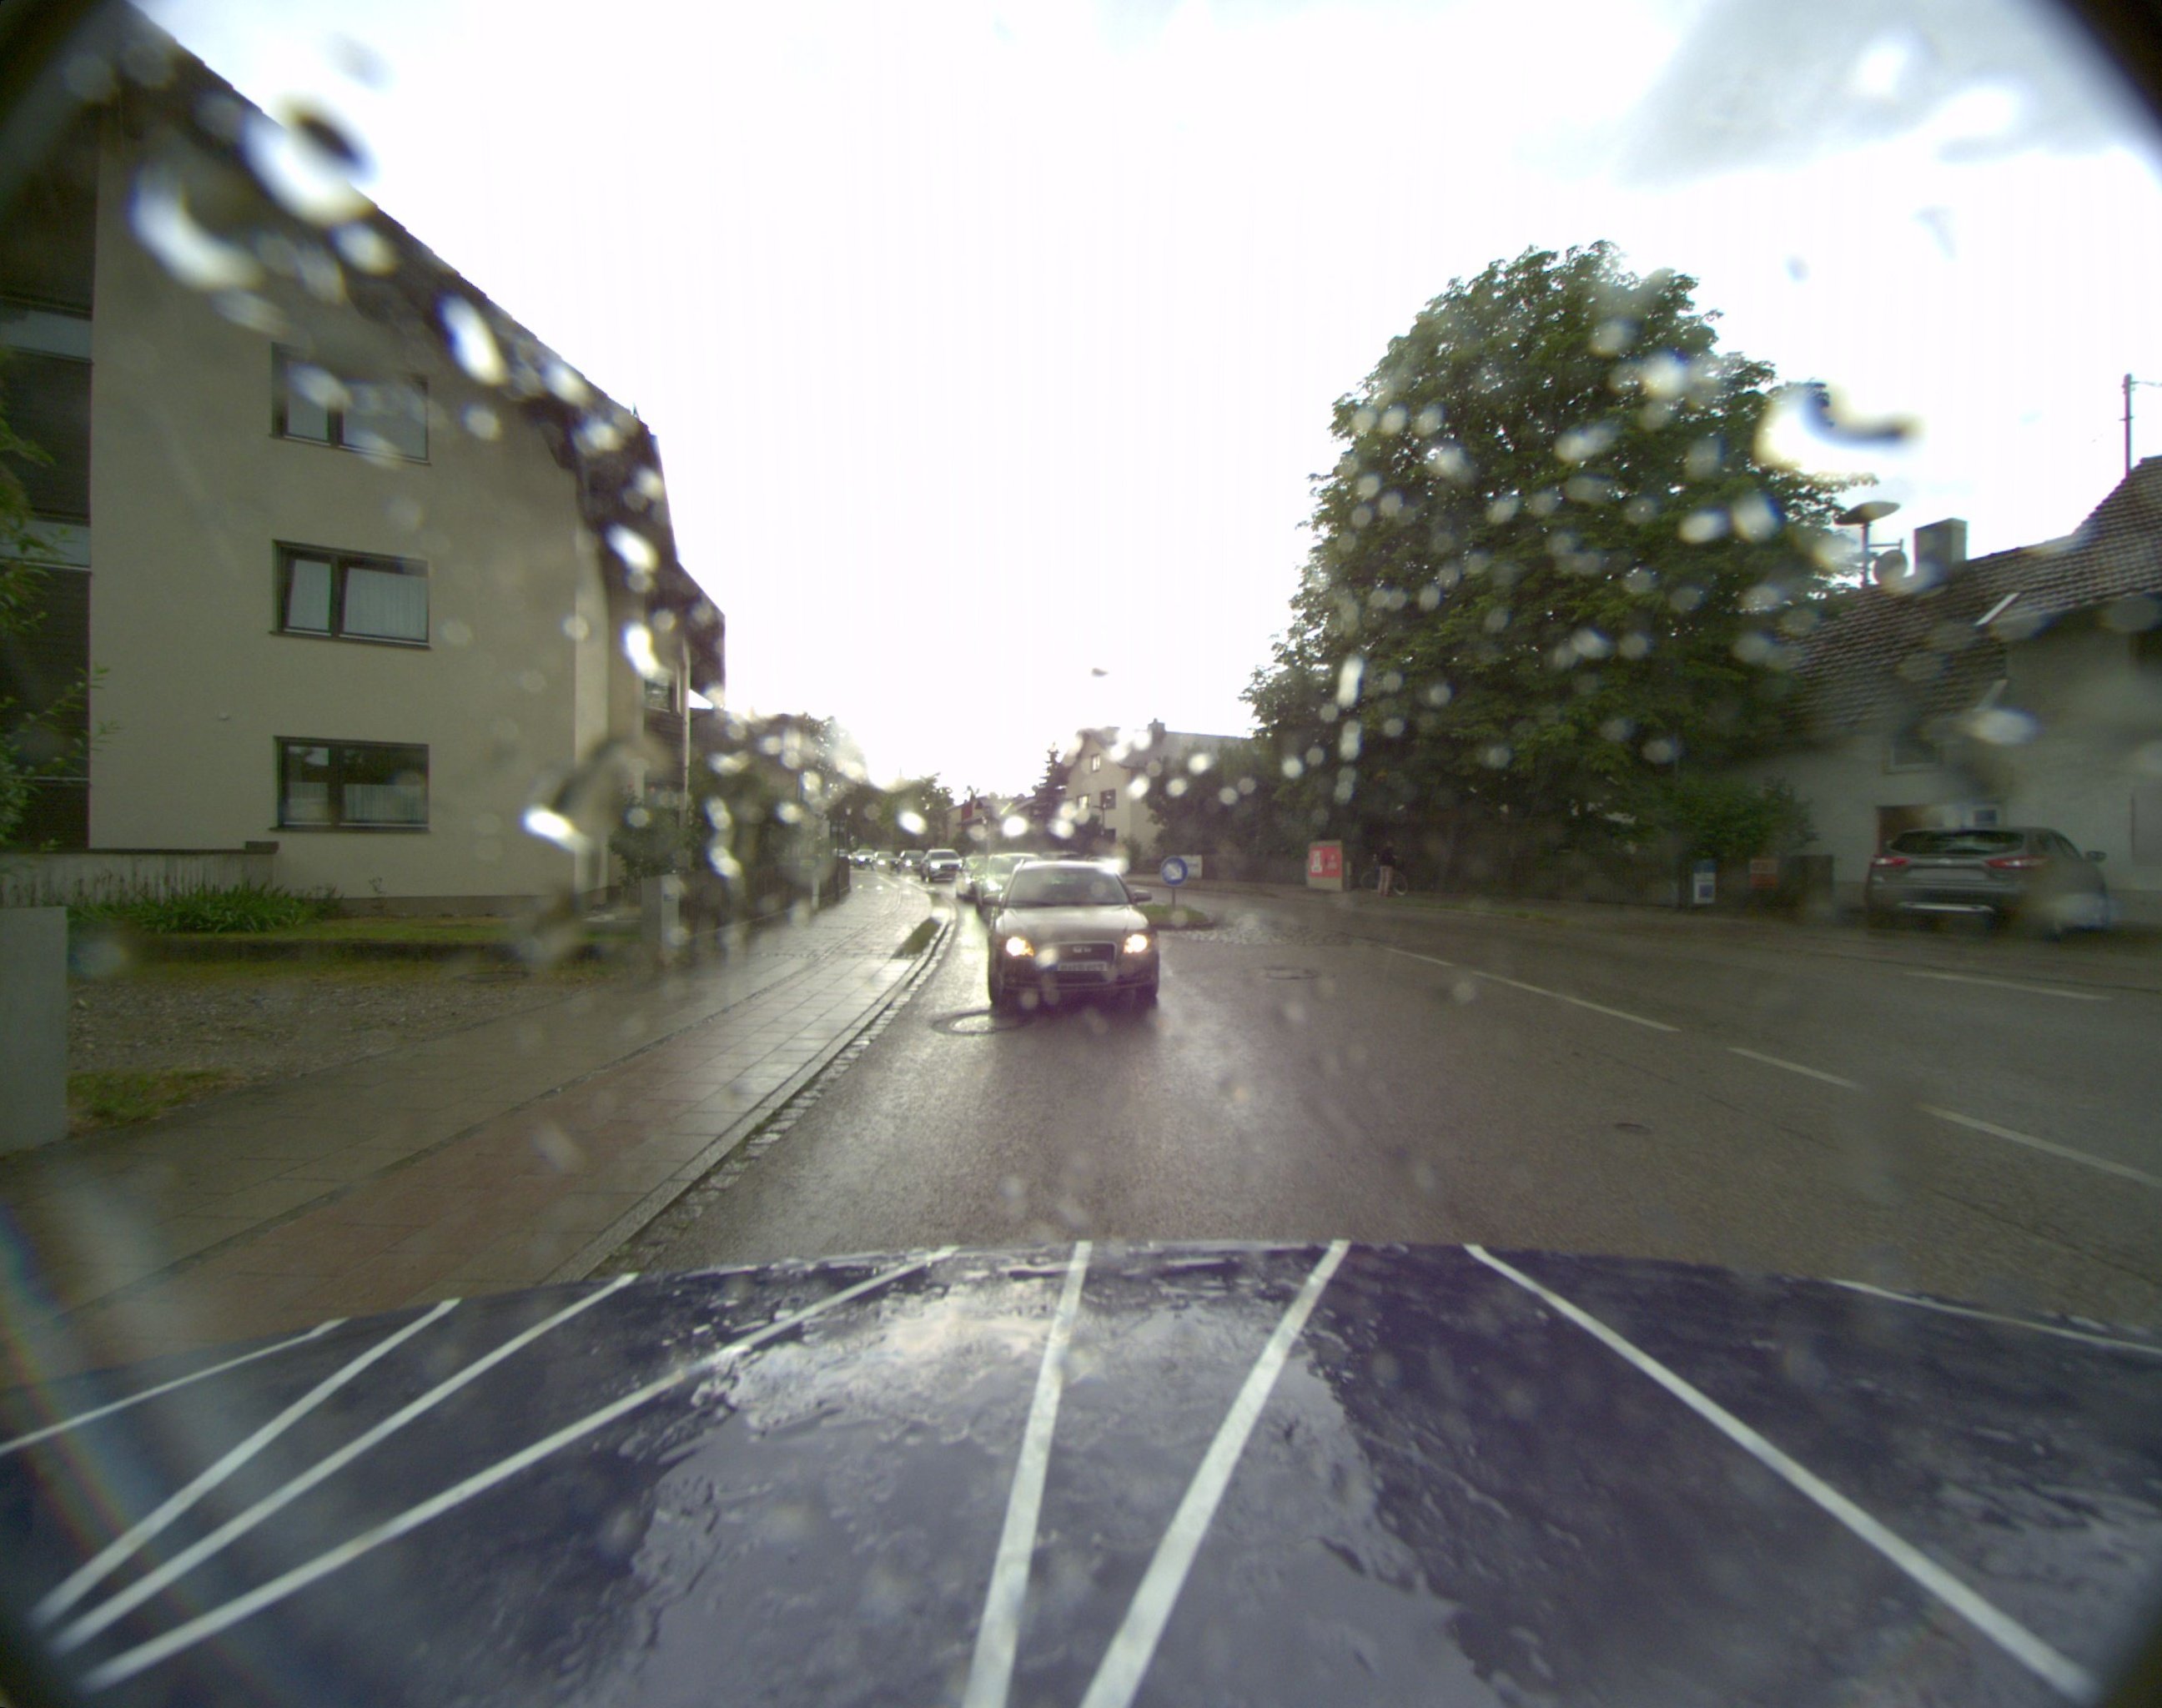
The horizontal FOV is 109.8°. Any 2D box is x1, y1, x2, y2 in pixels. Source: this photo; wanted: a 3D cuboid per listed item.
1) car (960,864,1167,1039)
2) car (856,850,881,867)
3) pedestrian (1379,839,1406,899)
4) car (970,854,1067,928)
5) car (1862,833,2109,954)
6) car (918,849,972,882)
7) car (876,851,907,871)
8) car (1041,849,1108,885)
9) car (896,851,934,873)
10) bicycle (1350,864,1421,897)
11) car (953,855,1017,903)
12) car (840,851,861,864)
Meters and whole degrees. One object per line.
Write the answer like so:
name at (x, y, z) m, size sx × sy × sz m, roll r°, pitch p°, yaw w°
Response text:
car at (-0.308, 0.888, 8.888) m, size 1.794 × 1.387 × 4.279 m, roll -2°, pitch 1°, yaw -4°
car at (-20.594, 0.408, 73.592) m, size 1.797 × 1.539 × 4.273 m, roll -3°, pitch 1°, yaw -22°
pedestrian at (8.638, 0.407, 21.084) m, size 0.652 × 1.619 × 0.480 m, roll 0°, pitch 1°, yaw 27°
car at (-1.735, 0.795, 19.068) m, size 1.795 × 1.470 × 5.379 m, roll -2°, pitch 1°, yaw -11°
car at (13.800, 0.526, 11.543) m, size 4.289 × 1.539 × 1.813 m, roll 1°, pitch 0°, yaw -32°
car at (-7.054, 0.551, 39.130) m, size 1.797 × 1.539 × 4.273 m, roll -3°, pitch 1°, yaw -22°
car at (-15.603, 0.531, 62.386) m, size 1.797 × 1.539 × 4.273 m, roll -3°, pitch 1°, yaw -22°
car at (-0.362, 0.543, 34.161) m, size 1.819 × 1.482 × 4.052 m, roll -1°, pitch 0°, yaw -18°
car at (-11.518, 0.520, 52.582) m, size 1.797 × 1.365 × 4.273 m, roll -2°, pitch 1°, yaw -22°
bicycle at (8.851, 0.744, 22.170) m, size 0.665 × 0.897 × 1.869 m, roll -2°, pitch 1°, yaw -34°
car at (-3.295, 0.769, 25.553) m, size 1.795 × 1.387 × 4.276 m, roll -2°, pitch 1°, yaw -11°
car at (-29.131, 0.392, 96.069) m, size 1.797 × 1.539 × 4.272 m, roll -3°, pitch 1°, yaw -26°
